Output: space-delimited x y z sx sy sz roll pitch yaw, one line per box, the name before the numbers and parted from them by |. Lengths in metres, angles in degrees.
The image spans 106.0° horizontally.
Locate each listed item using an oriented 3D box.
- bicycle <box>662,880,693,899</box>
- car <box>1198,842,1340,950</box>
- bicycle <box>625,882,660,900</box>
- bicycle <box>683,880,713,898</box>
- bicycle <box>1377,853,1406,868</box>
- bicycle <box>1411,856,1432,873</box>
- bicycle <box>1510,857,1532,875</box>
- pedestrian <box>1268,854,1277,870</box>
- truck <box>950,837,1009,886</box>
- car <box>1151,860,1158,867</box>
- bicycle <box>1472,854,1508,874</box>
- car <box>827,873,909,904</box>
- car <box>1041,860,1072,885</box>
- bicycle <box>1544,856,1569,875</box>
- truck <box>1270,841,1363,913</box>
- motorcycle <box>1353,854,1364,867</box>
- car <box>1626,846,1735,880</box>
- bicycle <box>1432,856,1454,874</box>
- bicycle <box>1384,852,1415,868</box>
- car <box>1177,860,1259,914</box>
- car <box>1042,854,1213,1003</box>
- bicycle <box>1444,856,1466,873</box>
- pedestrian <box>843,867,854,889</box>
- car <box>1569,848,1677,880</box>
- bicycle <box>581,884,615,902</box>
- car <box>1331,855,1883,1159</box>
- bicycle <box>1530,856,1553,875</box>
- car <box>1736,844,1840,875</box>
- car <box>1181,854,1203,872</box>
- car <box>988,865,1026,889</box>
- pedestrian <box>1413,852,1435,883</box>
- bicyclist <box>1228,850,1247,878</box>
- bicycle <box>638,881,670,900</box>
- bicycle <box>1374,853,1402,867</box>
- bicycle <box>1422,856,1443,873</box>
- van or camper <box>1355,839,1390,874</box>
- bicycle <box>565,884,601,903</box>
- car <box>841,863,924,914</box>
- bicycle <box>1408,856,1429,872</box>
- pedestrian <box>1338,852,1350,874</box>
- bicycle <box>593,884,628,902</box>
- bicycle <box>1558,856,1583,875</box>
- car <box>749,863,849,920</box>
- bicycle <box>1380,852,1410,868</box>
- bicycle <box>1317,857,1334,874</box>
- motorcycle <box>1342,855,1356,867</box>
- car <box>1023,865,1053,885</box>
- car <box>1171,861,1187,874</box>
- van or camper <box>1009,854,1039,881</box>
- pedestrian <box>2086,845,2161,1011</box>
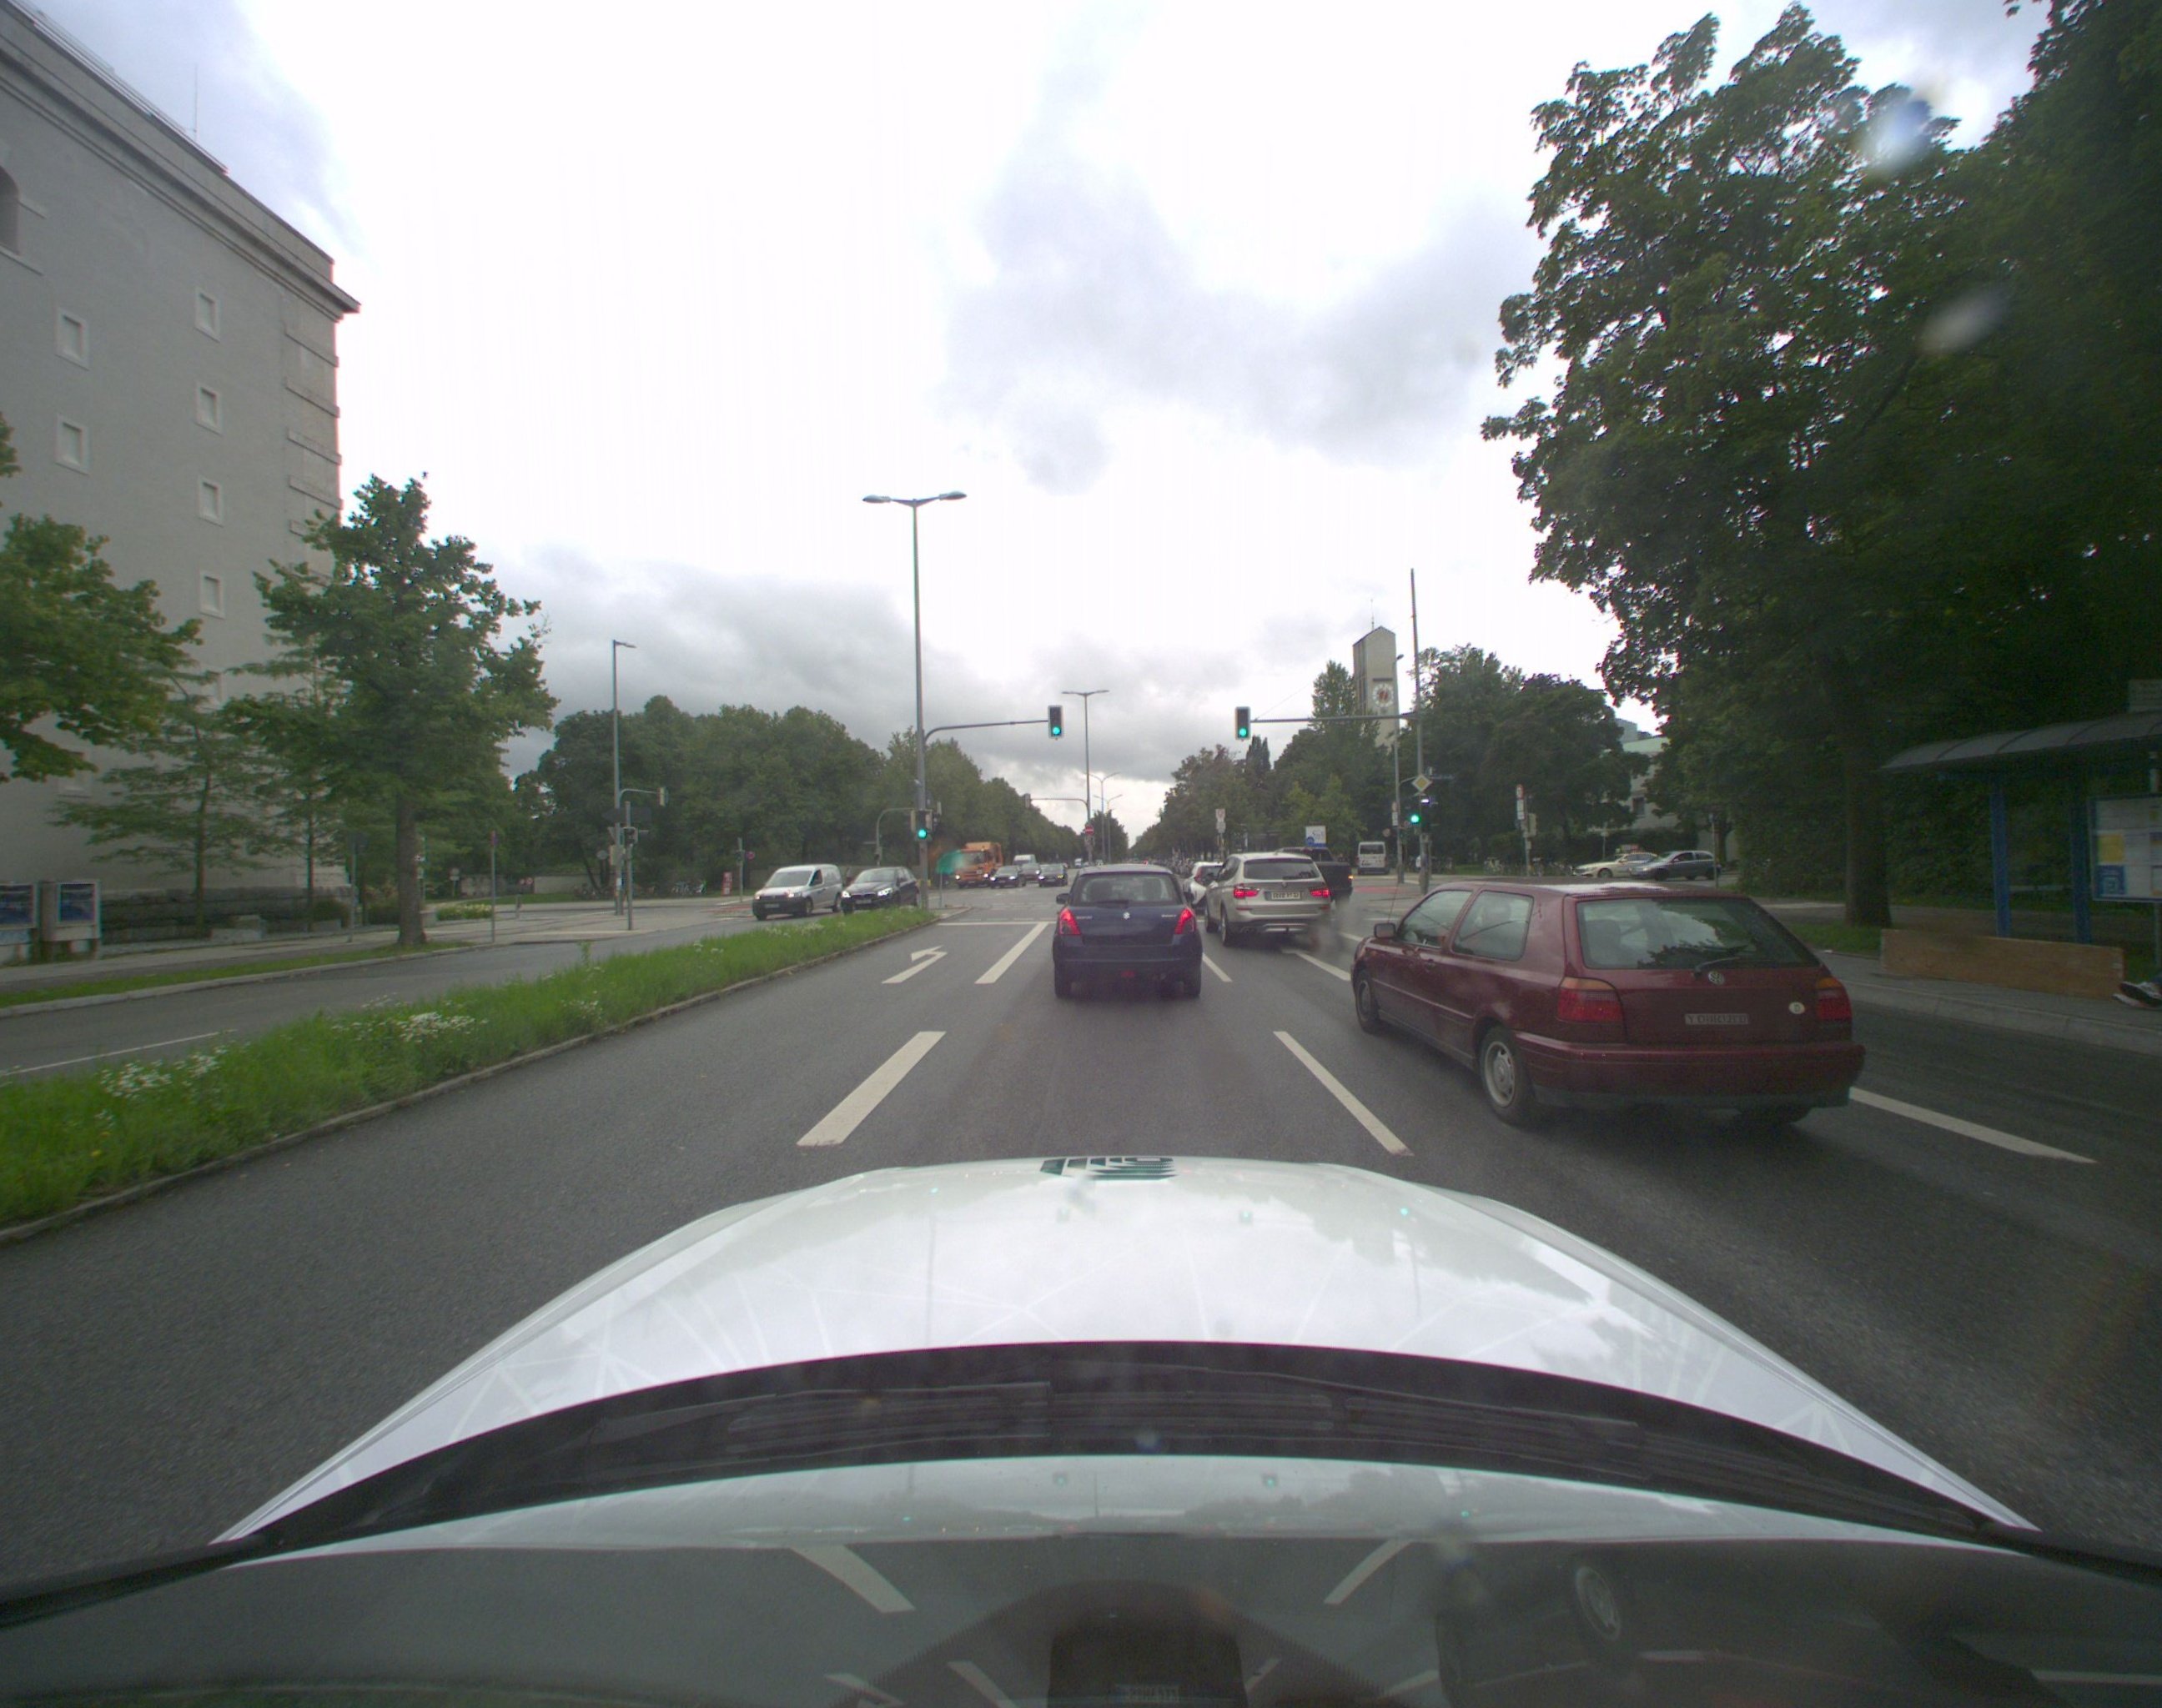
bicycle | -27.792 2.431 56.133 0.832 1.186 2.497 -2 -1 2
car | 3.420 0.716 15.585 1.843 1.743 4.099 -2 -1 2
bicycle | -31.459 2.628 58.523 0.832 1.186 2.885 -2 -1 2
bicycle | -26.423 2.409 56.226 0.832 1.186 2.497 -2 -1 2
bicycle | 27.587 0.539 72.359 2.329 1.157 0.529 -4 -1 2
bicycle | 24.908 0.764 59.584 0.709 1.153 2.142 -2 -1 43
bicycle | 27.983 0.731 51.777 0.604 1.095 2.121 -2 -1 11
pedestrian | 18.752 0.761 79.698 0.579 1.513 0.691 -1 -1 -15
truck | -7.512 0.577 61.226 2.767 3.356 7.277 -1 -1 5
car | 17.948 2.343 198.068 1.676 1.525 4.460 0 -1 4
bicycle | 26.688 0.656 53.210 0.704 1.251 2.098 -1 -1 -23
car | -12.496 2.005 48.010 1.907 1.462 4.393 -4 -1 38
car | -1.576 1.199 53.465 1.632 1.487 3.784 -2 -1 3
bicycle | 29.355 0.706 50.309 0.604 1.095 2.121 -2 -1 11
truck | 7.423 0.697 26.263 2.086 2.014 5.826 -2 -1 9
motorcycle | 26.631 0.626 78.231 0.650 1.177 1.825 -2 -1 28
car | 28.485 0.419 38.784 3.919 1.454 1.629 -2 -1 3
bicycle | 24.956 0.748 56.149 0.712 1.153 2.132 -2 -1 6
bicycle | 27.182 0.519 69.484 2.329 1.157 0.529 -4 -1 2
car | 3.993 0.928 24.380 1.843 1.447 4.099 -2 -1 2
car | 0.560 0.820 10.731 1.782 1.556 4.001 -2 -1 2
bicycle | 25.776 0.726 56.102 0.693 1.153 2.132 -2 -1 6
pedestrian | -18.871 1.931 66.120 0.705 1.740 0.517 -2 -1 -2
car | 28.003 0.503 42.168 4.286 1.497 1.887 -2 -1 0
bicycle | -33.544 2.697 56.594 0.832 1.186 2.497 -2 -1 2
car | 3.179 0.774 5.978 1.615 1.454 3.952 -2 -1 3
bicycle | 28.625 0.711 50.643 0.603 1.095 2.122 -2 -1 13
car | 36.562 0.295 42.163 3.923 1.454 1.627 -2 -1 0
car | 10.847 0.886 79.710 1.740 1.724 4.911 -1 0 4
car | -5.002 1.532 55.627 1.919 1.462 4.901 -4 -1 2
pedestrian | 19.262 0.752 45.739 0.758 1.703 0.937 -2 -1 -6
bicyclist | 9.921 0.635 51.634 0.831 1.764 0.739 -1 -1 -32
bicycle | -29.927 2.555 57.086 0.832 1.186 2.497 -2 -1 2
bicycle | 27.878 0.551 73.989 2.329 1.157 0.529 -4 -1 2
bicycle | 25.464 0.755 59.013 0.709 1.153 2.142 -2 -1 43
van or camper | 20.786 0.201 57.961 2.123 2.296 6.231 -2 -1 21
bicycle | -34.535 2.722 56.503 0.832 1.186 2.497 -2 -1 2
car | -6.742 1.123 28.084 1.692 1.570 4.292 -2 -1 1
bicycle | 25.373 0.775 61.266 0.709 1.153 2.142 -2 -1 43
pedestrian | 18.050 0.620 55.964 0.684 1.538 0.741 -2 -1 22
bicycle | -32.533 2.684 56.361 0.832 1.186 2.497 -2 -1 2
bicycle | 29.920 0.697 49.764 0.604 1.095 2.121 -2 -1 11
car | -9.882 1.258 28.882 1.772 1.812 4.433 -2 -1 3
bicycle | 27.219 0.527 70.541 2.329 1.157 0.529 -4 -1 2
bicycle | 18.056 0.835 60.133 0.856 1.198 2.004 -3 -1 7
motorcycle | 25.968 0.650 78.842 0.650 1.062 1.825 -2 -1 41
car | -3.491 1.708 67.065 1.854 1.542 4.754 -2 -1 4
car | 12.197 1.715 101.681 1.710 1.508 4.227 -2 -1 3
van or camper | -6.064 1.461 87.056 2.169 2.647 6.956 -4 -1 3
pedestrian | 9.636 0.632 7.040 1.150 1.383 0.611 1 -1 0
